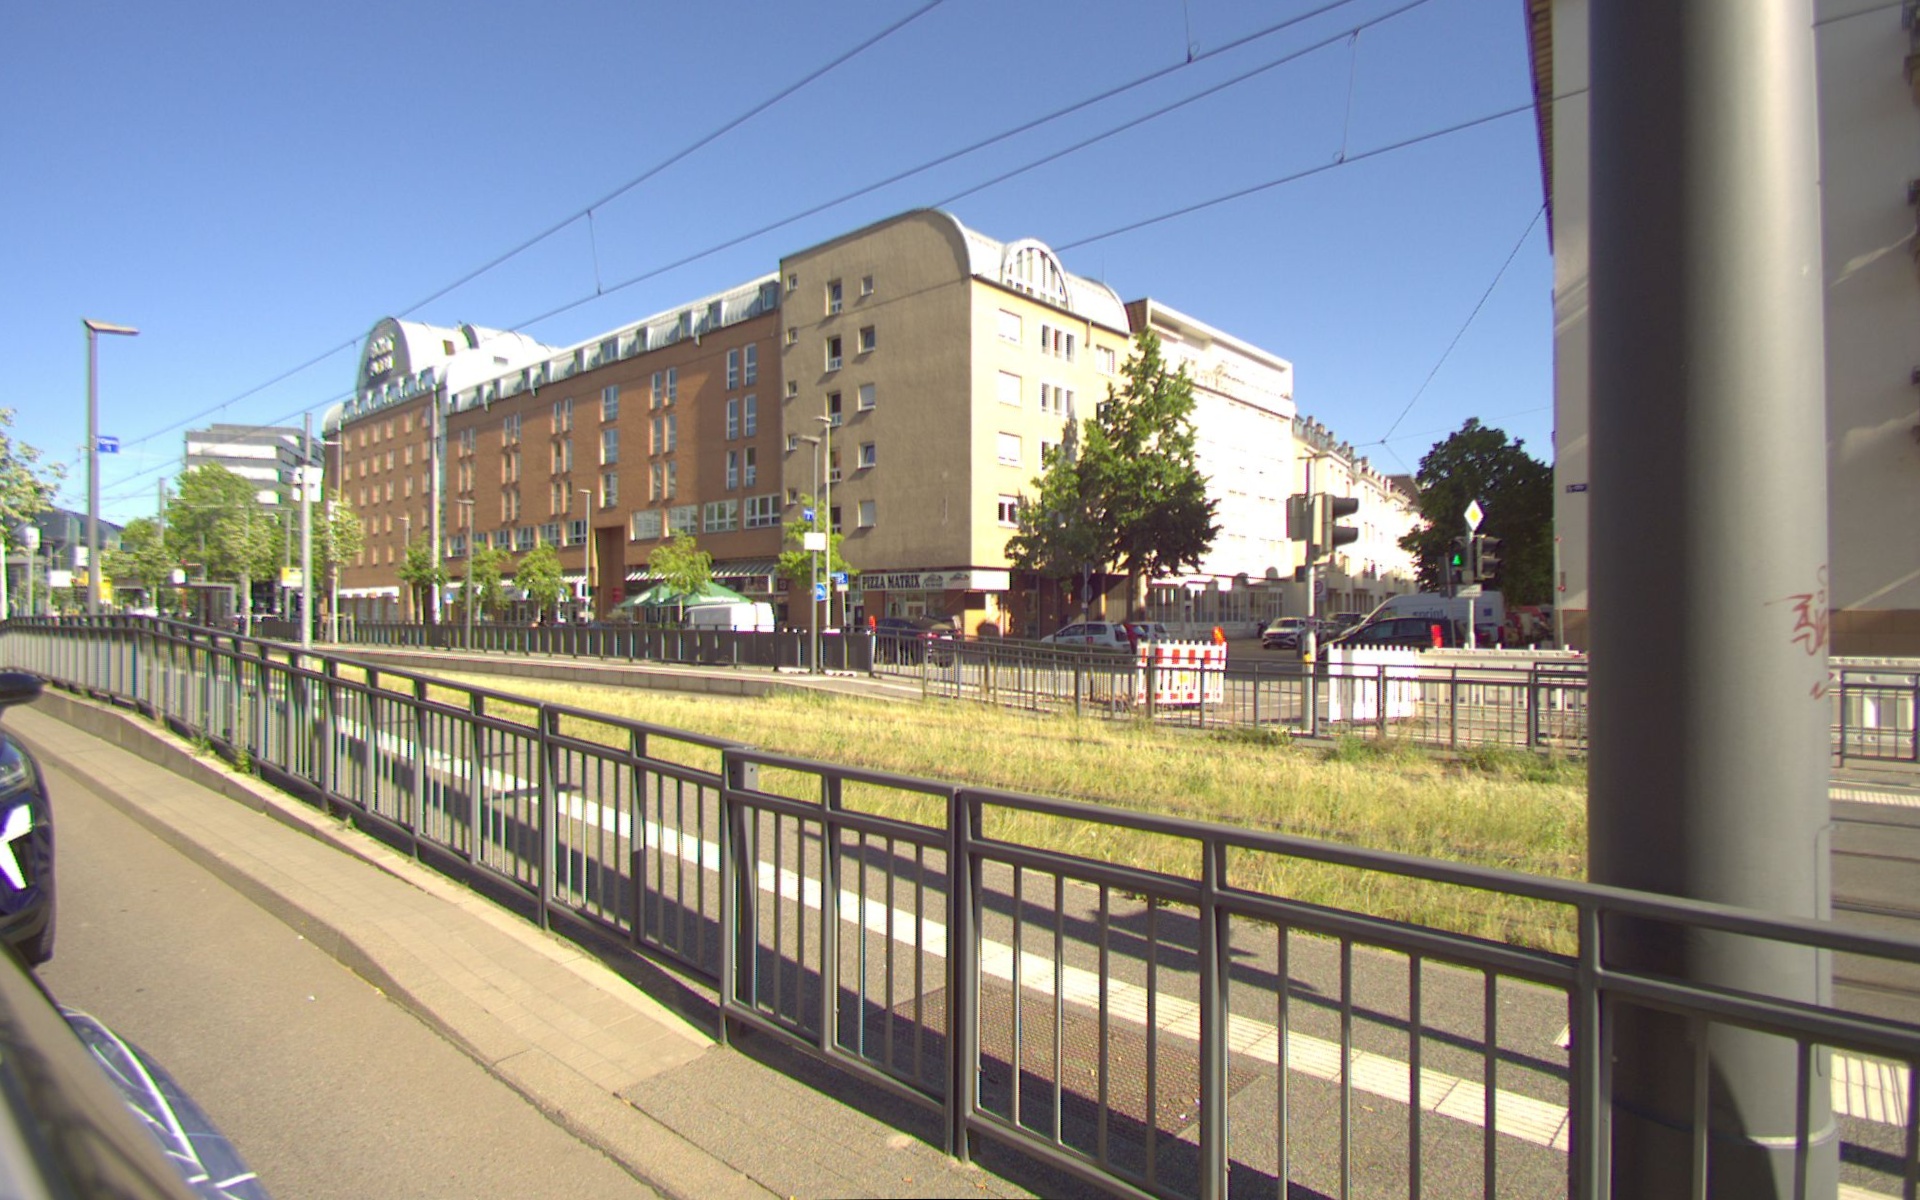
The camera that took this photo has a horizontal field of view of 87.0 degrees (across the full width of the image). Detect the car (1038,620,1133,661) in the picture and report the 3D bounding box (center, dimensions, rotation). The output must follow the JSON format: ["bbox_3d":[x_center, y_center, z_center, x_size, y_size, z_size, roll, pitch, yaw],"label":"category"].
[{"bbox_3d":[4.786,1.518,38.660,3.334,1.438,1.424,0,0,29],"label":"car"}]

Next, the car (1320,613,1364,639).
[{"bbox_3d":[25.007,1.678,66.157,1.993,1.630,4.141,0,-2,31],"label":"car"}]

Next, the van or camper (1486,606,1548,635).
[{"bbox_3d":[44.589,1.599,81.042,4.332,2.231,1.931,0,0,32],"label":"van or camper"}]

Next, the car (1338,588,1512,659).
[{"bbox_3d":[17.344,0.810,37.872,5.737,2.473,1.979,0,0,32],"label":"car"}]

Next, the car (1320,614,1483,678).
[{"bbox_3d":[12.659,1.267,29.115,3.994,1.652,1.846,0,0,38],"label":"car"}]

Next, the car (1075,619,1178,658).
[{"bbox_3d":[7.029,1.596,42.901,3.997,1.497,1.693,0,1,40],"label":"car"}]

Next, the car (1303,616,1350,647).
[{"bbox_3d":[22.507,1.907,62.113,1.839,1.730,4.033,0,0,34],"label":"car"}]

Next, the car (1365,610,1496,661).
[{"bbox_3d":[16.518,1.192,35.564,3.989,1.652,1.848,0,0,34],"label":"car"}]

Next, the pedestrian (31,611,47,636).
[{"bbox_3d":[-72.467,1.842,79.629,0.593,1.903,0.742,0,-1,0],"label":"pedestrian"}]

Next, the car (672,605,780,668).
[{"bbox_3d":[-9.394,1.378,40.325,1.969,2.314,5.197,-1,0,-41],"label":"car"}]

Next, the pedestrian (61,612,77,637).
[{"bbox_3d":[-68.599,1.884,77.912,0.810,1.903,0.769,1,-2,-45],"label":"pedestrian"}]

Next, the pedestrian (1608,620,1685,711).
[{"bbox_3d":[11.754,1.097,17.333,0.793,1.515,0.712,0,-1,-9],"label":"pedestrian"}]

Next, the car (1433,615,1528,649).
[{"bbox_3d":[25.452,1.528,49.480,3.988,1.567,1.848,0,0,33],"label":"car"}]

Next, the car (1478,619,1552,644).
[{"bbox_3d":[34.714,1.943,63.342,3.987,1.440,1.760,0,0,32],"label":"car"}]

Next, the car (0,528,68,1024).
[{"bbox_3d":[-5.229,0.621,4.179,4.418,1.597,1.736,-1,1,41],"label":"car"}]

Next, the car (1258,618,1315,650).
[{"bbox_3d":[17.439,1.813,54.008,1.993,1.630,4.141,0,-2,31],"label":"car"}]

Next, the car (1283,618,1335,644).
[{"bbox_3d":[20.223,1.782,58.586,1.993,1.457,4.141,0,-2,31],"label":"car"}]

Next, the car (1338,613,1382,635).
[{"bbox_3d":[27.998,1.694,70.724,1.995,1.473,4.137,0,-2,34],"label":"car"}]

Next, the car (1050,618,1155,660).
[{"bbox_3d":[5.719,1.524,40.683,3.955,1.563,1.457,0,0,33],"label":"car"}]

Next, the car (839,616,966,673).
[{"bbox_3d":[-1.871,1.366,32.396,3.996,1.652,1.677,0,0,39],"label":"car"}]

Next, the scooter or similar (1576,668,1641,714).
[{"bbox_3d":[11.043,1.537,17.255,0.597,0.725,0.713,0,-1,-9],"label":"scooter or similar"}]

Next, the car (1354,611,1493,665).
[{"bbox_3d":[15.391,1.214,33.677,3.989,1.652,1.848,0,0,34],"label":"car"}]
